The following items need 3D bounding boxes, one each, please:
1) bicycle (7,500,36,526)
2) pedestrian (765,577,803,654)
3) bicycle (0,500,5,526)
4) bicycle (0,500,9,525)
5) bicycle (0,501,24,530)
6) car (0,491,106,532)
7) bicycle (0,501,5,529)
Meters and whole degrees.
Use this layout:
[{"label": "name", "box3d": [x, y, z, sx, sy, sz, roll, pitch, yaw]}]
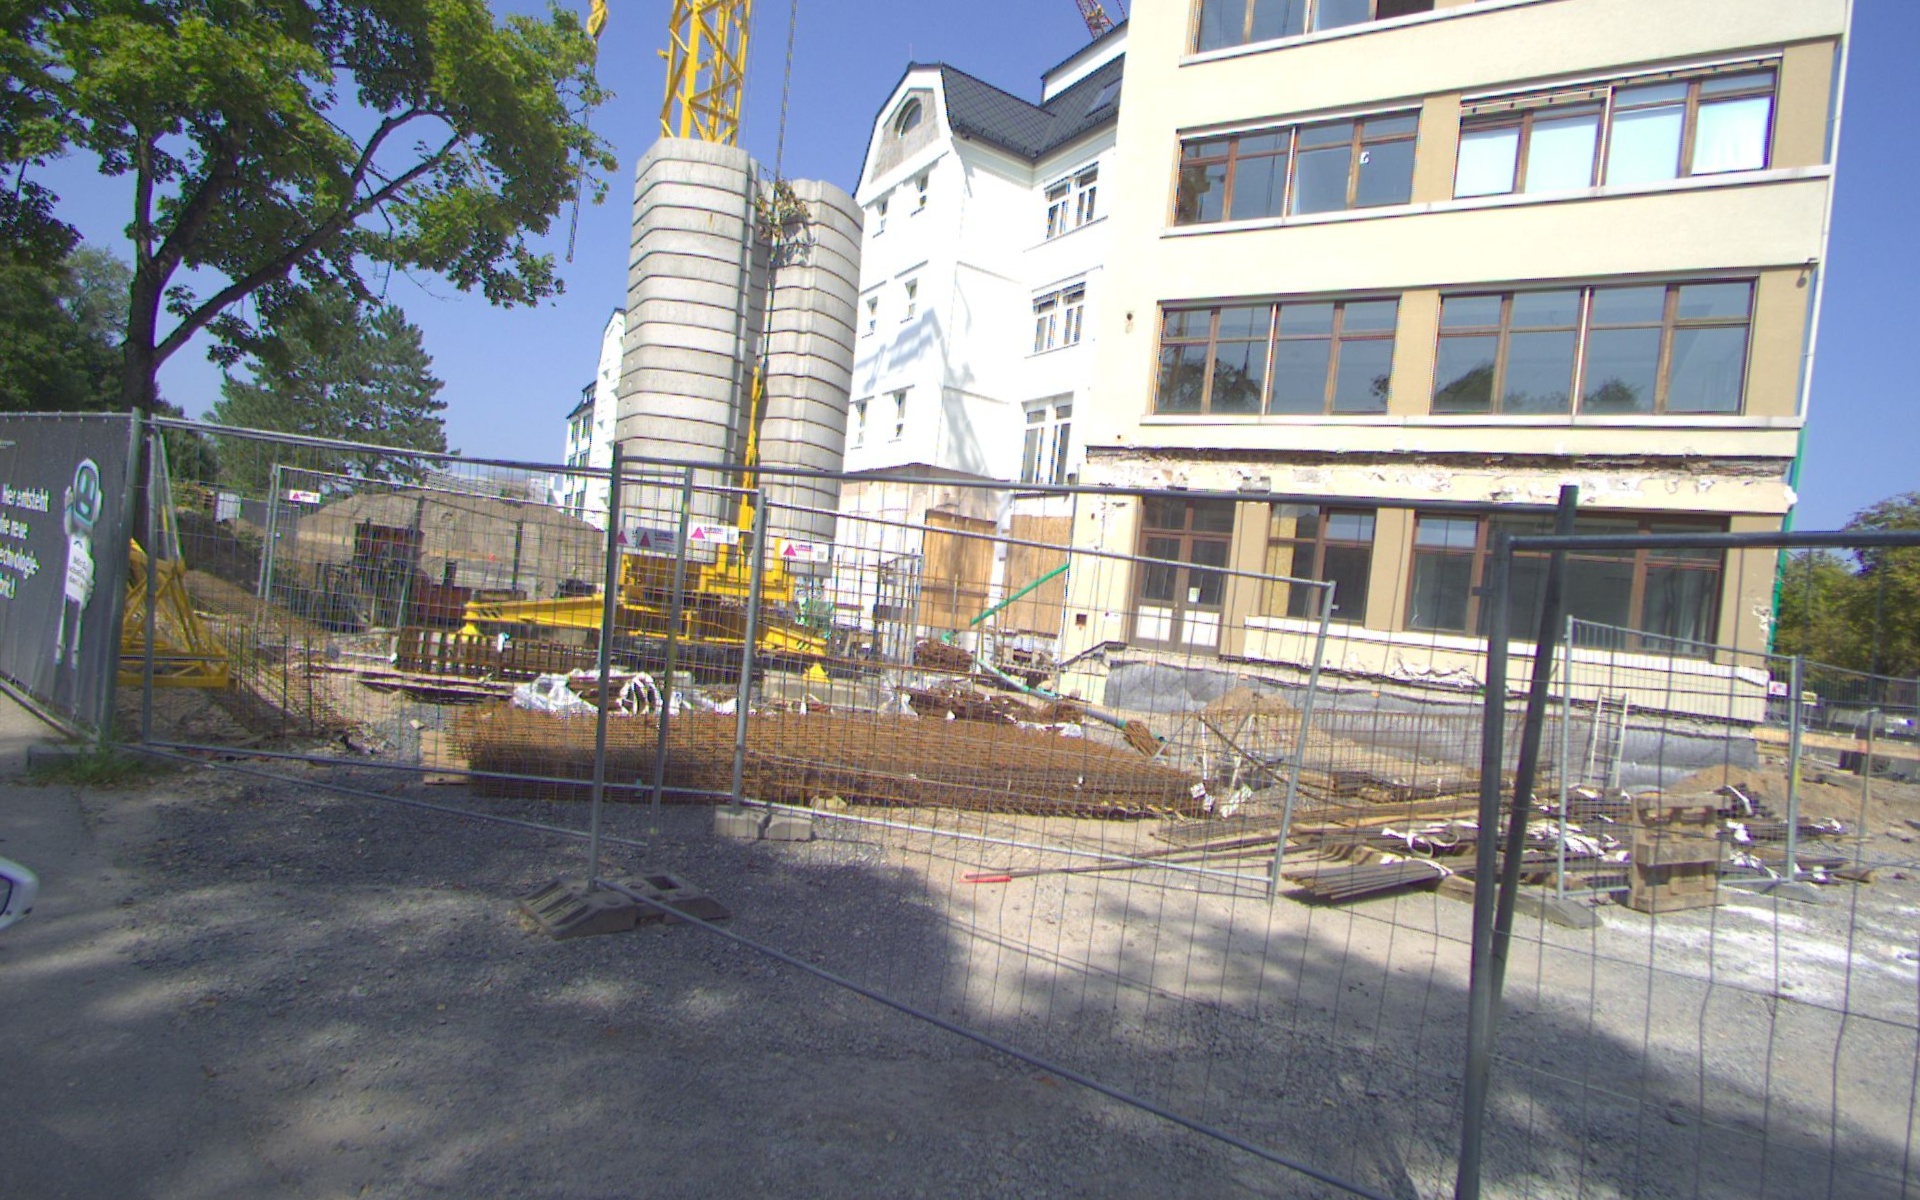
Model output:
[{"label": "bicycle", "box3d": [-45.709, -4.220, 49.004, 0.494, 1.121, 1.787, 7, 0, -28]}, {"label": "pedestrian", "box3d": [-3.723, 0.321, 21.273, 0.517, 1.547, 0.492, 6, 1, -25]}, {"label": "bicycle", "box3d": [-42.845, -3.895, 44.363, 0.494, 1.121, 1.787, 7, 0, -28]}, {"label": "bicycle", "box3d": [-44.184, -4.034, 45.964, 0.494, 1.121, 1.787, 7, 0, -28]}, {"label": "bicycle", "box3d": [-39.903, -3.549, 42.147, 0.494, 1.121, 1.787, 7, 0, -28]}, {"label": "car", "box3d": [-48.501, -4.683, 53.815, 3.963, 1.528, 1.783, 8, -1, -35]}, {"label": "bicycle", "box3d": [-38.560, -3.435, 39.876, 0.494, 1.121, 1.787, 7, 0, -28]}]
